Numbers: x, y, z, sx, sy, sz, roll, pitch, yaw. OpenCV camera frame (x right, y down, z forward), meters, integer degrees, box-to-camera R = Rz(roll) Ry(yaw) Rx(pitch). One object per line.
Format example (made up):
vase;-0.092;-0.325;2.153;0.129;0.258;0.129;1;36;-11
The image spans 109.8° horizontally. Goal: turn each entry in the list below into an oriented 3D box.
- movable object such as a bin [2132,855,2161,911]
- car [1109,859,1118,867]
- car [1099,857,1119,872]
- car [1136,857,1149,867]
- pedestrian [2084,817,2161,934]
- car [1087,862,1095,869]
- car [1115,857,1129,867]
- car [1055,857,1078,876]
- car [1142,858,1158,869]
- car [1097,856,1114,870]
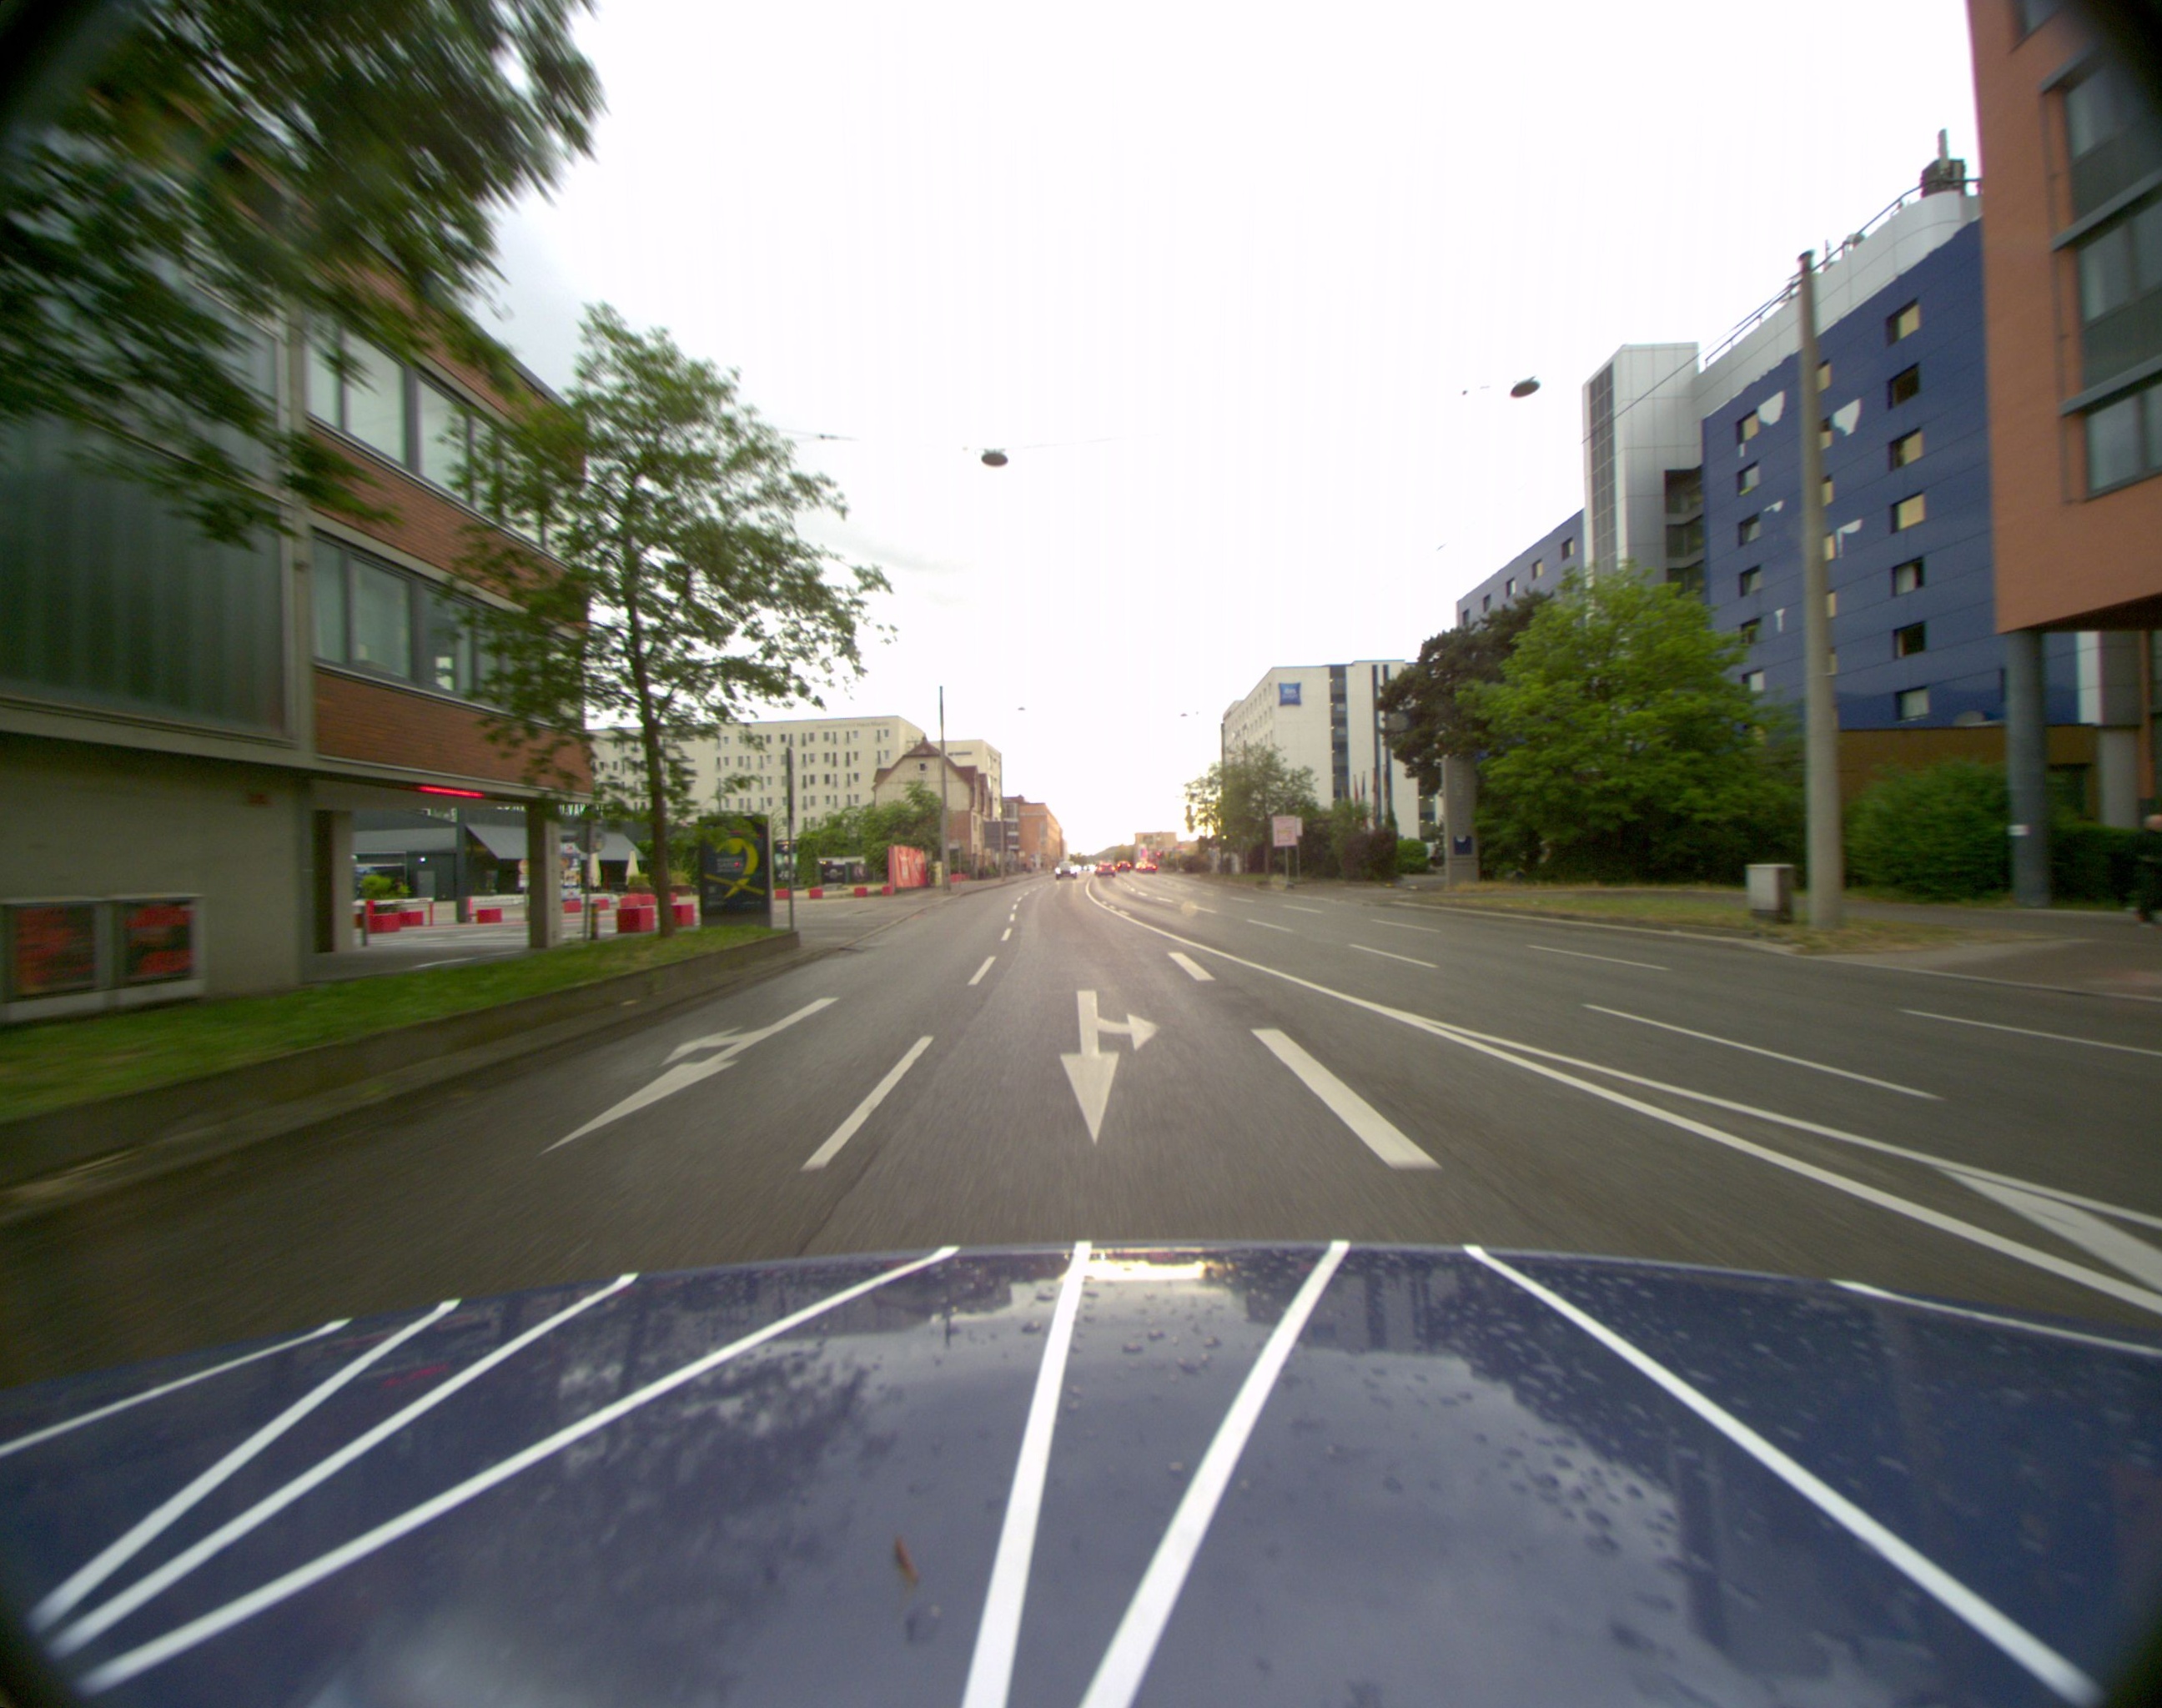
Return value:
movable object such as a bin;24.366;0.637;16.713;0.782;1.240;1.210;-2;0;-2
car;6.885;1.841;161.040;1.998;1.543;4.000;-1;0;2
car;2.935;1.122;80.776;1.998;1.543;4.000;-1;0;2
car;10.059;1.345;125.234;1.767;1.559;4.000;1;0;0
pedestrian;17.327;0.332;12.381;0.747;1.830;0.886;-3;0;1
car;2.257;2.625;174.226;1.798;1.501;4.001;0;-1;2
car;6.380;1.256;117.706;1.998;1.543;4.000;-1;0;2
car;-1.366;1.235;75.012;1.998;1.656;5.425;-3;0;1
car;9.547;1.279;105.010;1.767;1.559;4.000;1;0;-1
car;2.961;1.086;93.093;1.998;1.543;4.000;-1;0;2
